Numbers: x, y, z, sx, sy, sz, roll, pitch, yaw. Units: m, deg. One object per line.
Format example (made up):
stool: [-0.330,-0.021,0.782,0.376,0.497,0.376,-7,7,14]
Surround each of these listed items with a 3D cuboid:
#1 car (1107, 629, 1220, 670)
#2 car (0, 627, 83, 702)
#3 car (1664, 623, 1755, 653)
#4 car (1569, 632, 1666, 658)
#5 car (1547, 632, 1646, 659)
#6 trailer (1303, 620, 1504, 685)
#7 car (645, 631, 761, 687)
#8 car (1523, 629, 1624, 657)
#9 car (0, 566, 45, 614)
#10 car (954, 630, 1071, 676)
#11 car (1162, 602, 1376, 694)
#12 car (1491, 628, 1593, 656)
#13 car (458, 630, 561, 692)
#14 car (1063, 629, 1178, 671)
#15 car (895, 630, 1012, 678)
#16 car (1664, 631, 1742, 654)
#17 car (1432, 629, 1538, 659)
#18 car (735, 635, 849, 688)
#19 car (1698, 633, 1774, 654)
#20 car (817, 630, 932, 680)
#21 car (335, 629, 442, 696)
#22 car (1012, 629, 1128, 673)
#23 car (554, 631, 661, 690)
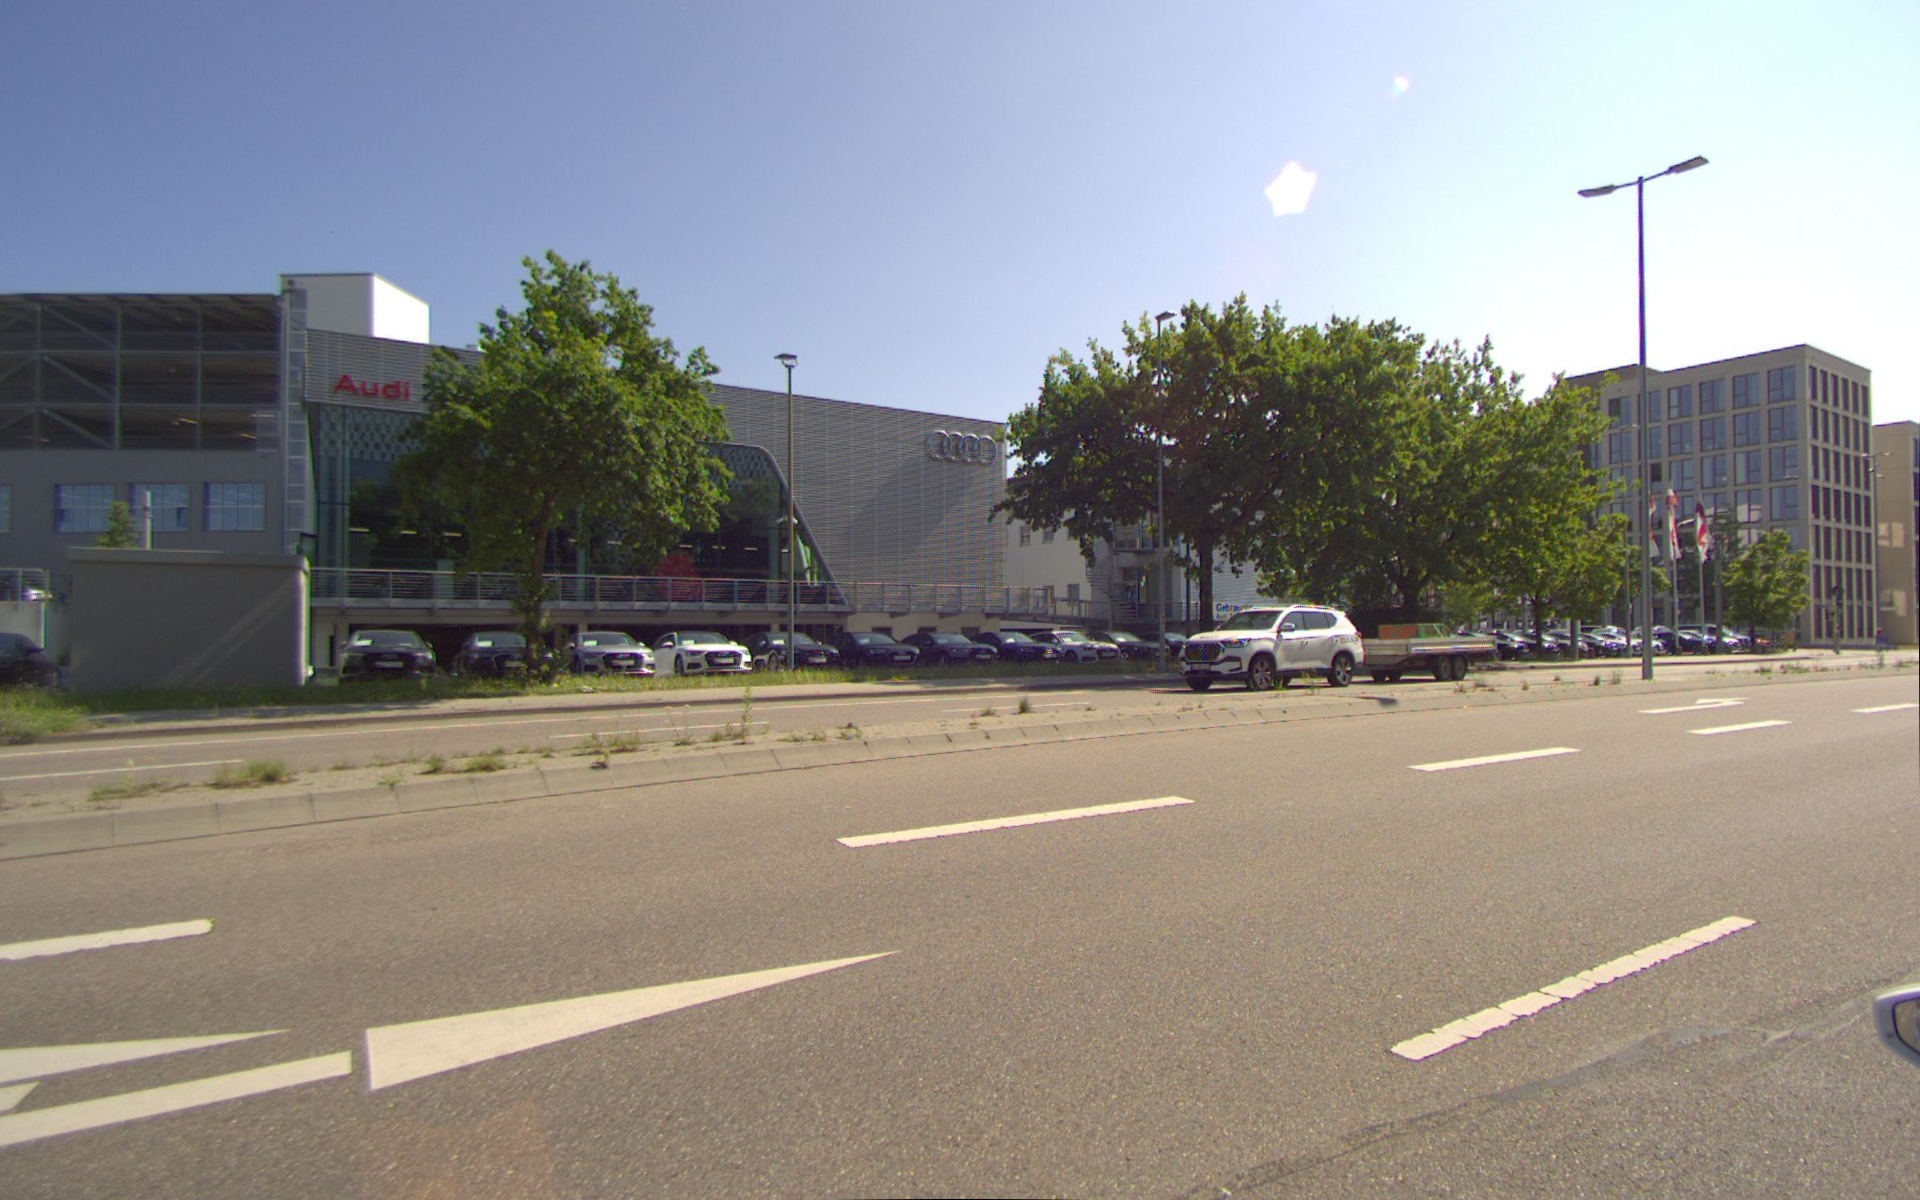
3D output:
car: [7.377,1.779,36.737,1.903,1.394,3.966,1,-2,-31]
car: [-19.165,1.238,19.819,1.930,1.368,4.247,1,-2,-29]
car: [54.361,2.738,72.952,1.977,2.077,4.891,1,-2,-30]
car: [35.497,2.405,54.306,1.978,1.361,3.965,1,-2,-33]
car: [33.536,2.398,52.985,1.978,1.361,3.965,1,-2,-33]
trailer: [11.316,1.280,25.428,5.713,1.472,1.981,1,-2,-35]
car: [-7.099,1.571,27.515,2.002,1.394,4.021,1,-2,-31]
car: [31.460,2.195,51.607,1.978,1.361,3.965,1,-2,-33]
car: [-30.709,-0.294,31.631,1.931,1.368,4.245,1,-2,-31]
car: [1.644,1.695,32.781,1.903,1.394,3.966,1,-2,-31]
car: [6.953,1.029,22.386,4.887,1.857,1.981,1,-2,-35]
car: [28.965,2.087,50.108,1.979,1.361,3.963,1,-2,-34]
car: [-11.201,1.445,24.854,1.844,1.394,3.966,1,-2,-31]
car: [5.603,1.723,35.463,1.903,1.394,3.966,1,-2,-31]
car: [-0.272,1.670,31.573,1.903,1.394,3.966,1,-2,-31]
car: [44.471,2.539,60.195,1.625,1.361,3.397,1,-2,-29]
car: [24.610,2.041,47.191,1.978,1.361,3.965,1,-2,-33]
car: [-4.876,1.711,28.804,1.903,1.394,3.966,1,-2,-31]
car: [57.381,3.201,74.325,1.977,1.483,3.968,1,-2,-30]
car: [-2.635,1.608,30.128,1.903,1.394,3.966,1,-2,-31]
car: [-13.261,1.393,23.234,1.978,1.394,3.966,1,-2,-31]
car: [3.664,1.699,34.088,1.903,1.394,3.966,1,-2,-31]
car: [-9.228,1.525,26.096,1.844,1.394,3.966,1,-2,-31]
